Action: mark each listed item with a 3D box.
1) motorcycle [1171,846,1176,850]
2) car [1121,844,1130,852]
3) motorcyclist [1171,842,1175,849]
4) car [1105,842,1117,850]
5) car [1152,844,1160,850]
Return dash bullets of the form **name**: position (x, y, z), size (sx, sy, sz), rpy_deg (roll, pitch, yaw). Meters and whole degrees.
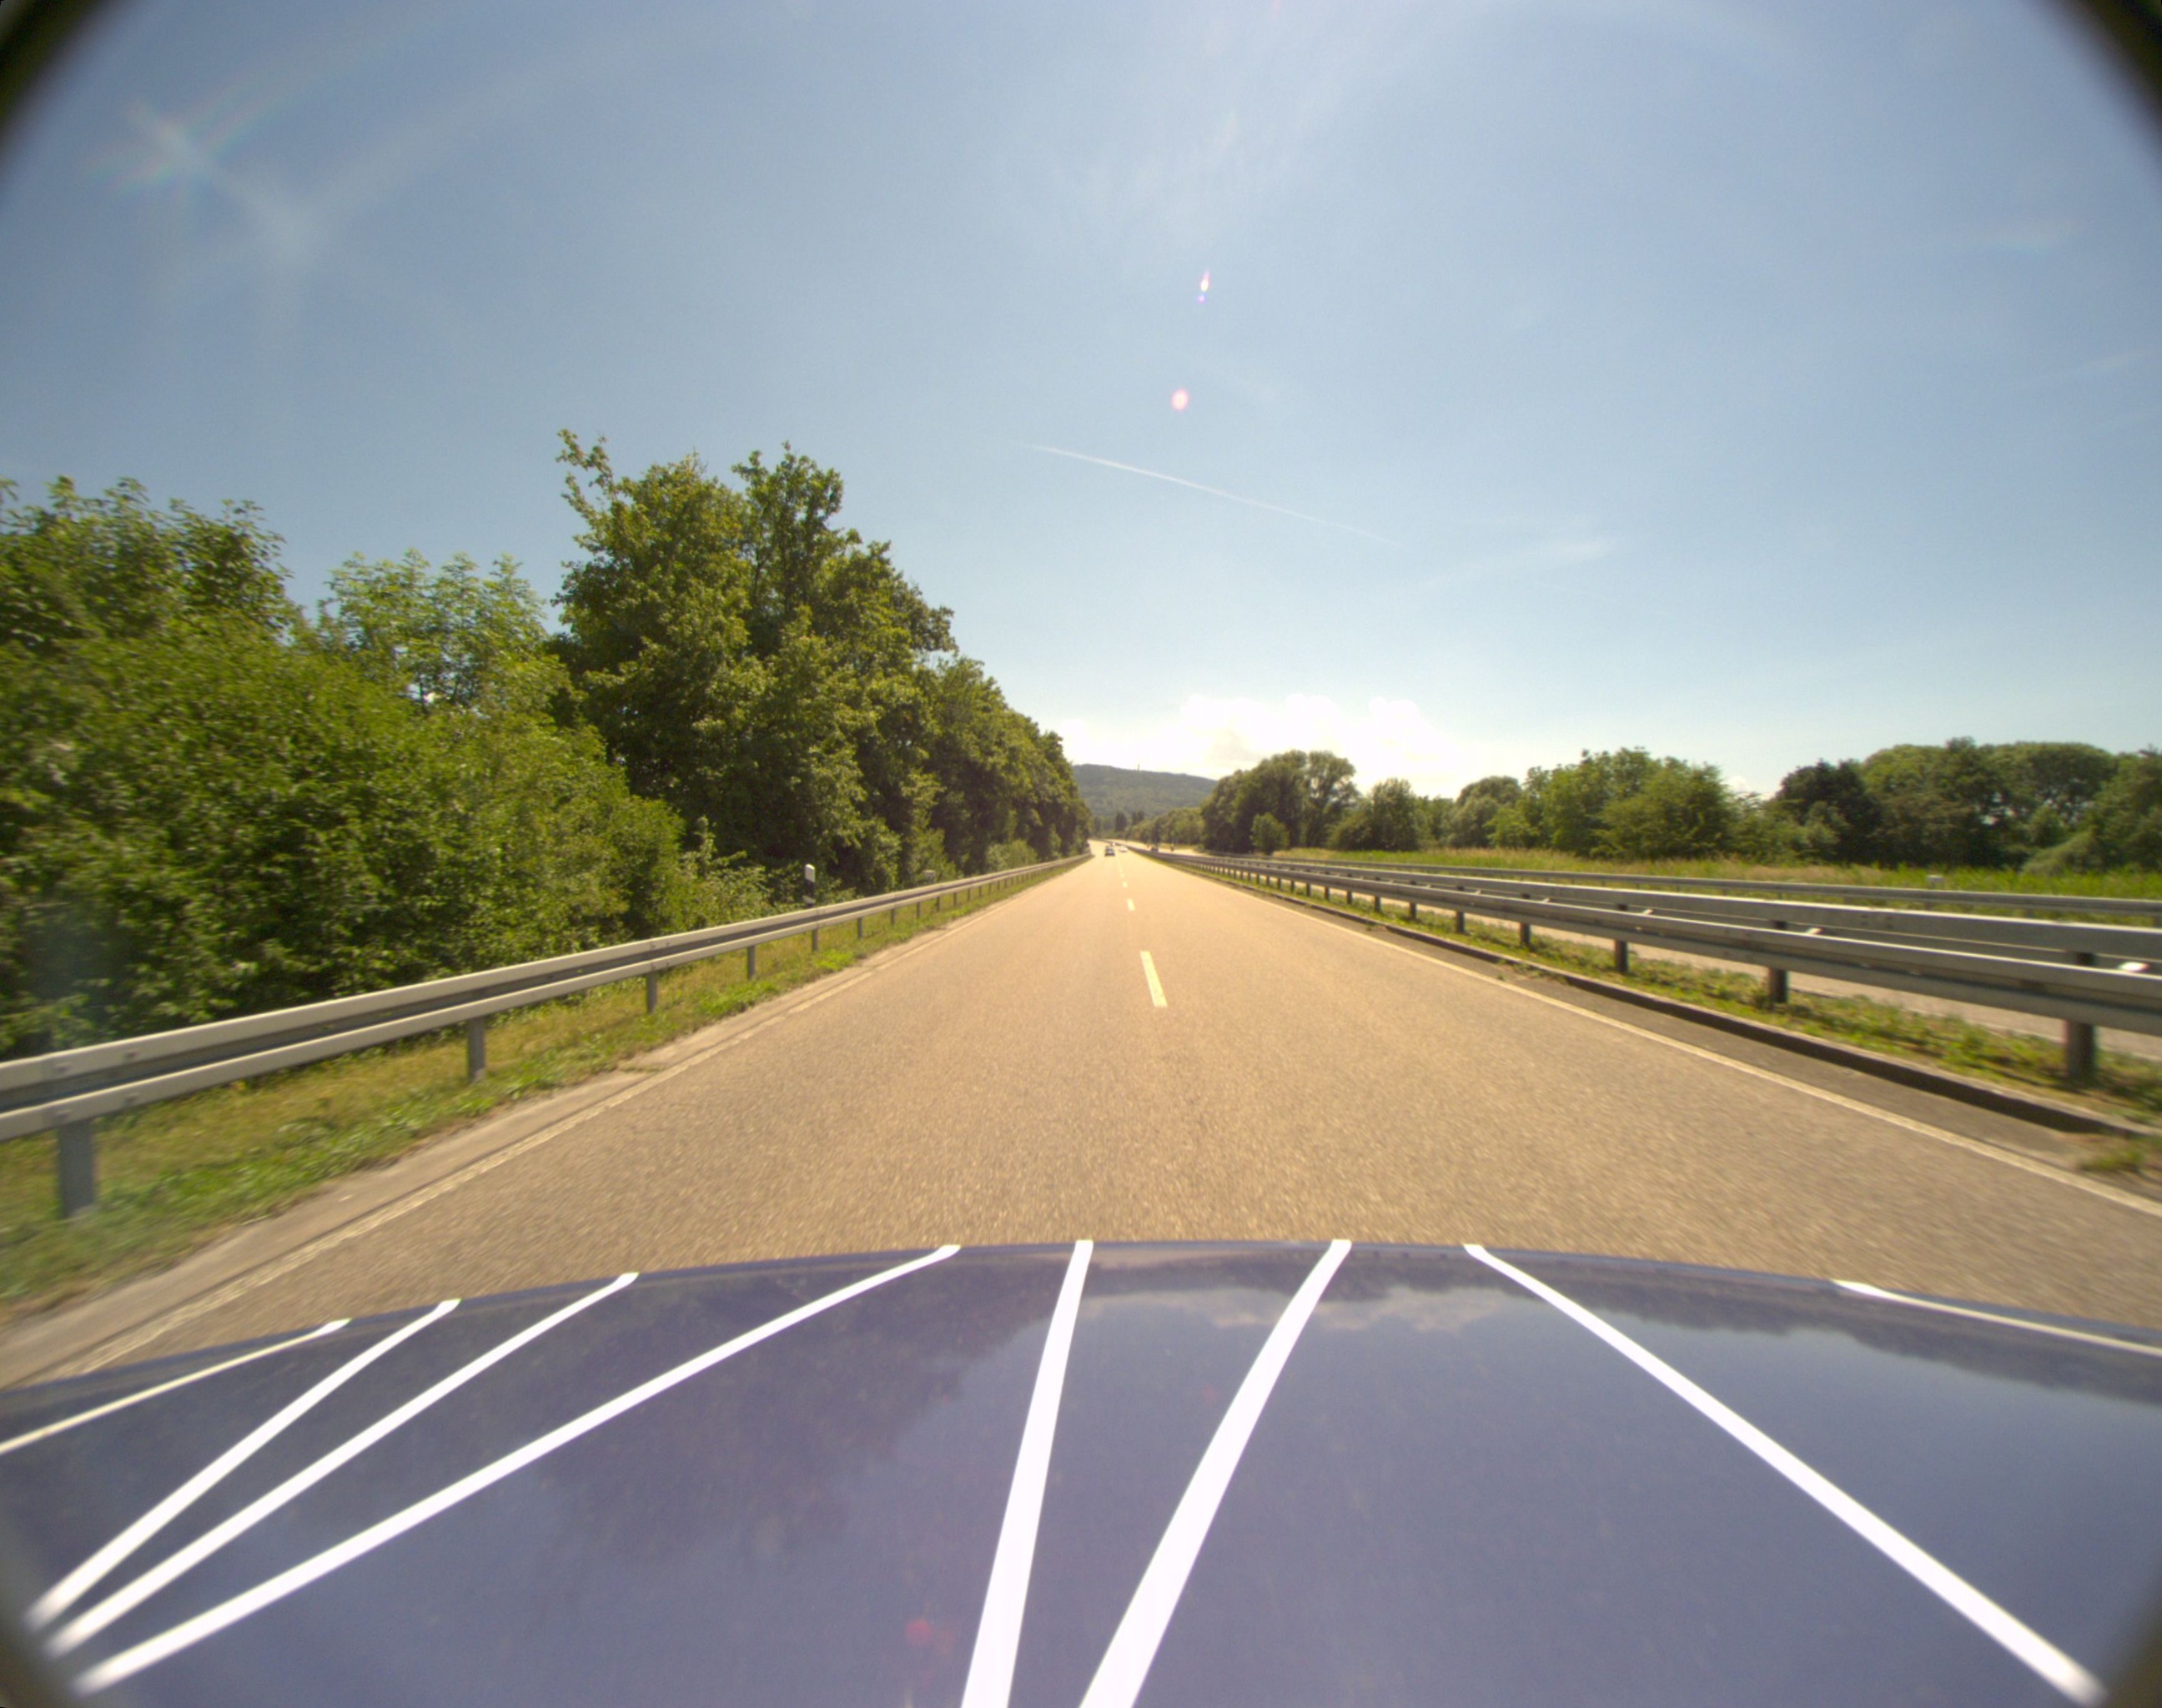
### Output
- **motorcycle**: position (21.949, -1.479, 180.554), size (1.066, 1.058, 3.818), rpy_deg (0, 1, 3)
- **car**: position (11.068, -1.515, 188.687), size (1.908, 1.687, 3.891), rpy_deg (-2, 2, 5)
- **motorcyclist**: position (21.921, -1.955, 180.569), size (0.947, 1.608, 0.809), rpy_deg (0, 1, 2)
- **car**: position (5.498, -1.515, 137.679), size (1.908, 1.368, 3.891), rpy_deg (-2, 2, 5)
- **car**: position (16.930, -1.661, 170.891), size (1.632, 1.324, 3.535), rpy_deg (-1, 1, 2)
